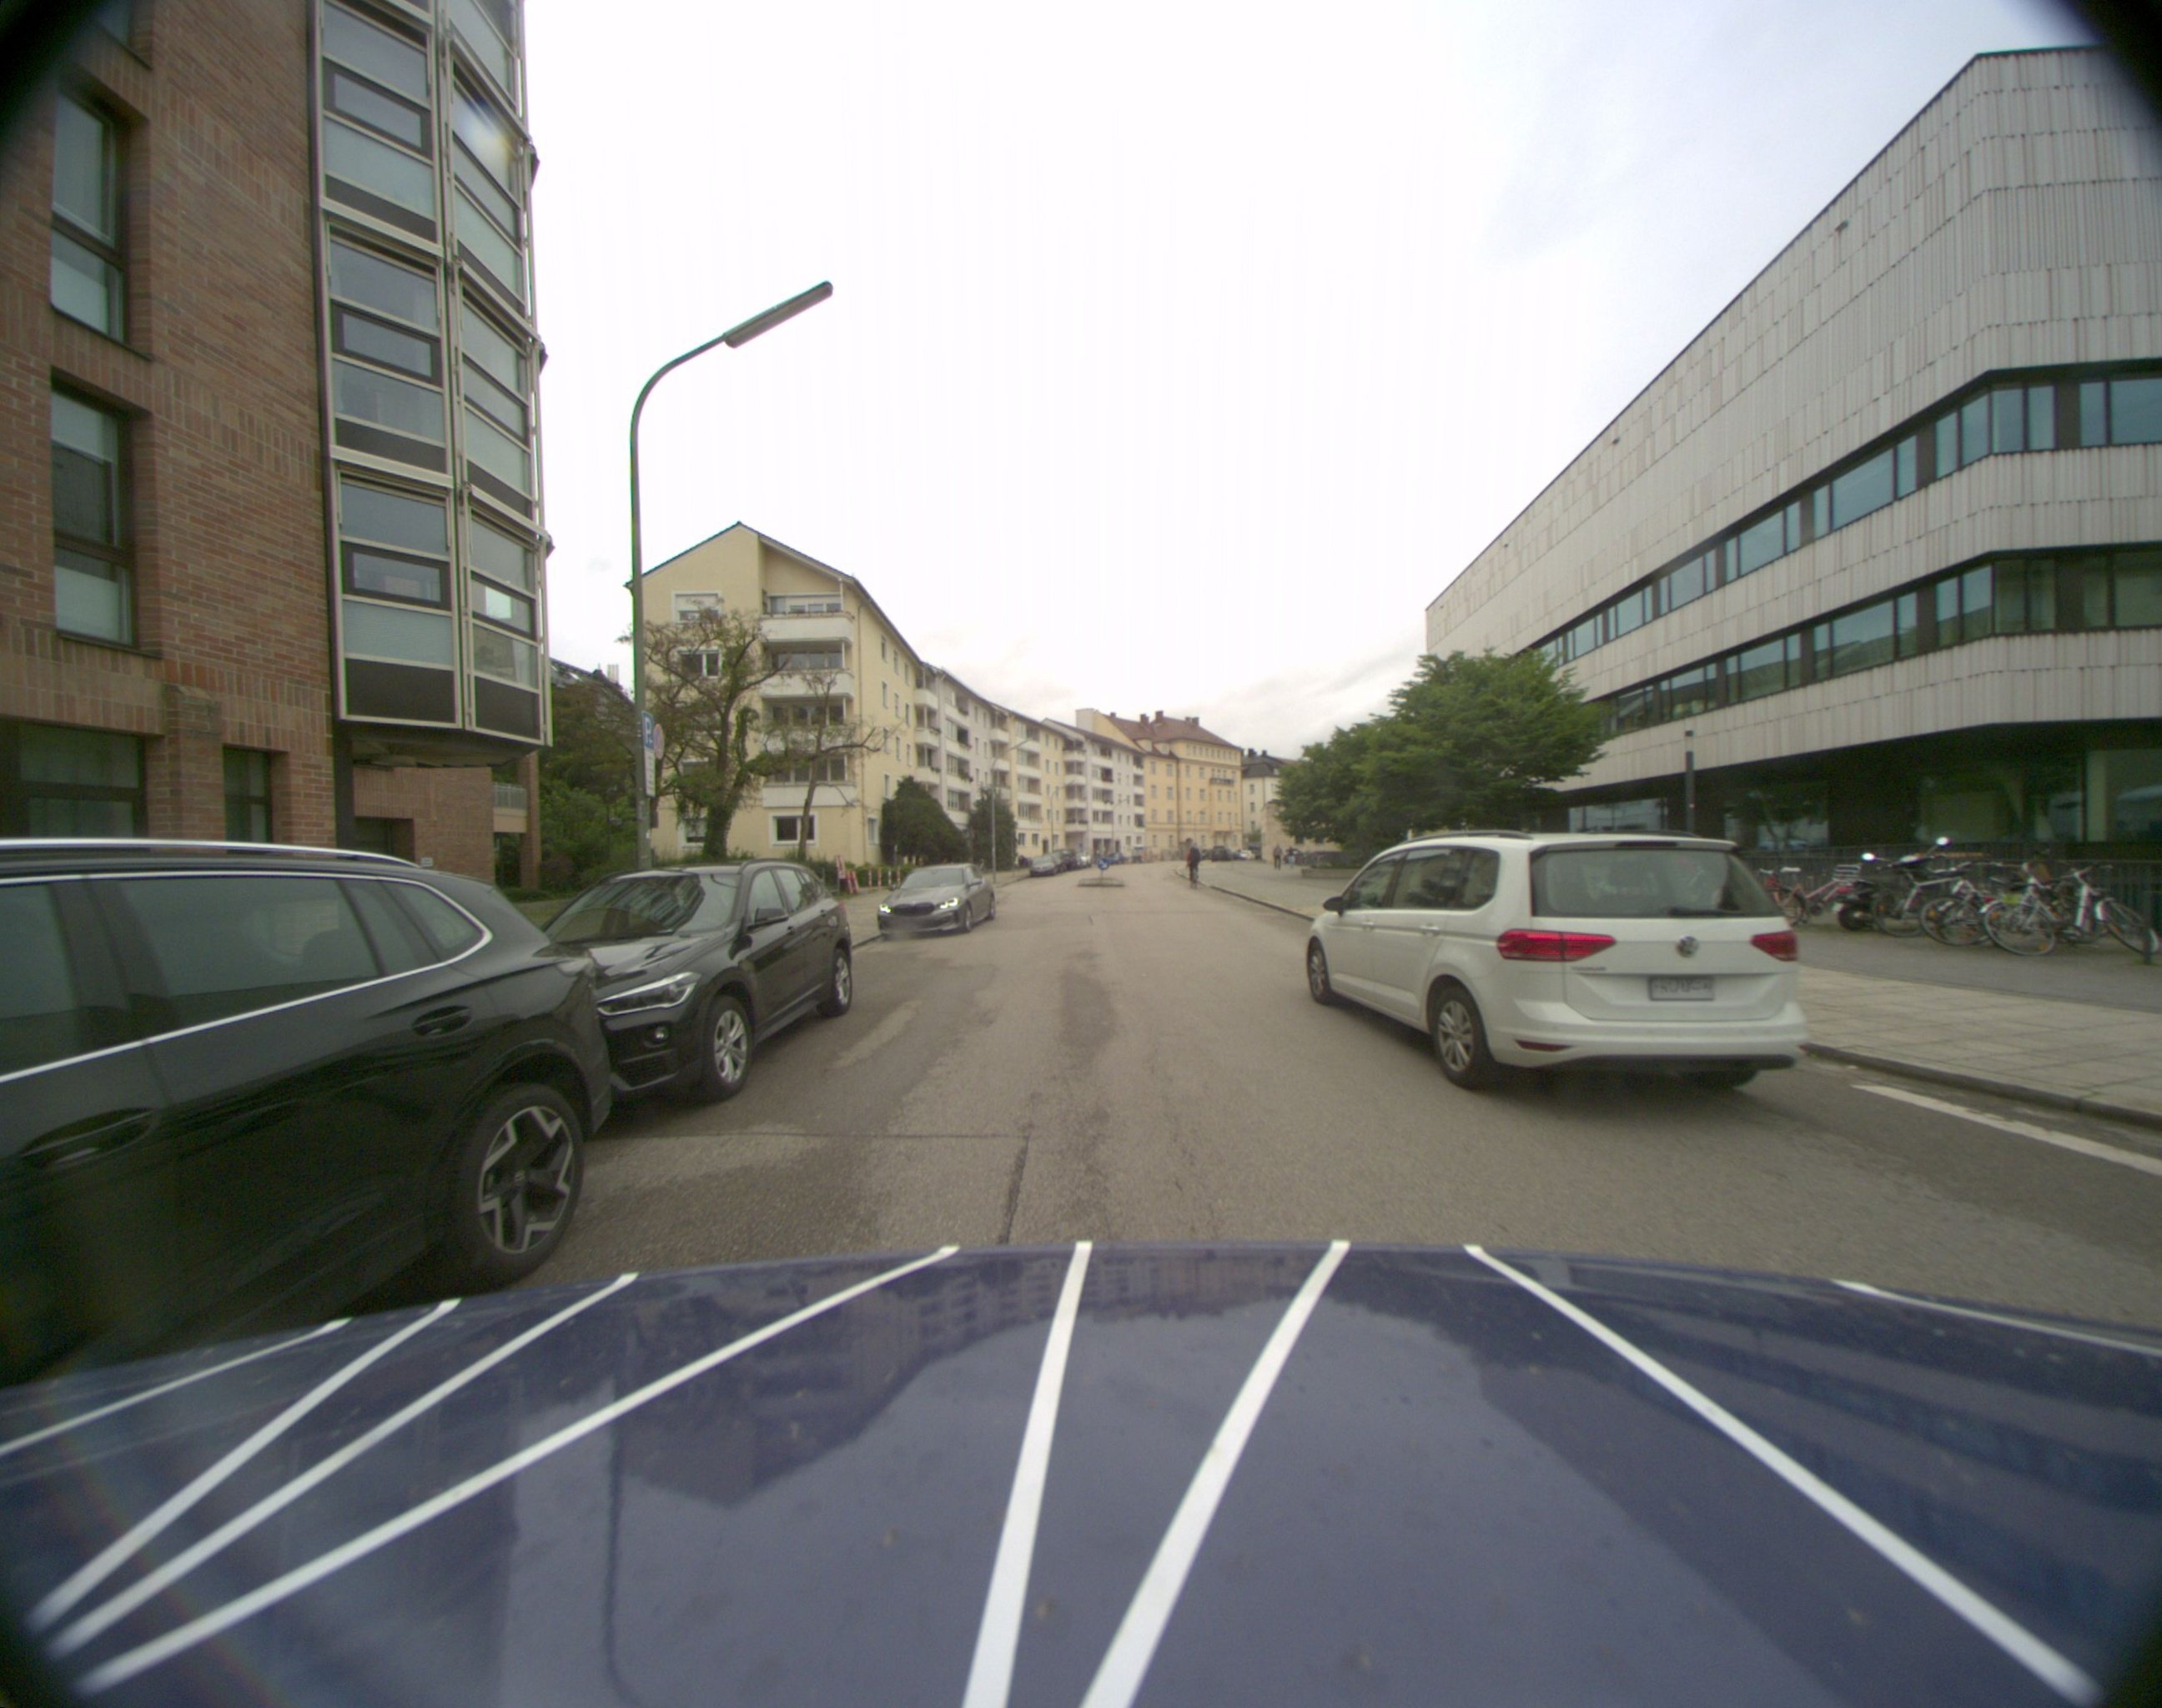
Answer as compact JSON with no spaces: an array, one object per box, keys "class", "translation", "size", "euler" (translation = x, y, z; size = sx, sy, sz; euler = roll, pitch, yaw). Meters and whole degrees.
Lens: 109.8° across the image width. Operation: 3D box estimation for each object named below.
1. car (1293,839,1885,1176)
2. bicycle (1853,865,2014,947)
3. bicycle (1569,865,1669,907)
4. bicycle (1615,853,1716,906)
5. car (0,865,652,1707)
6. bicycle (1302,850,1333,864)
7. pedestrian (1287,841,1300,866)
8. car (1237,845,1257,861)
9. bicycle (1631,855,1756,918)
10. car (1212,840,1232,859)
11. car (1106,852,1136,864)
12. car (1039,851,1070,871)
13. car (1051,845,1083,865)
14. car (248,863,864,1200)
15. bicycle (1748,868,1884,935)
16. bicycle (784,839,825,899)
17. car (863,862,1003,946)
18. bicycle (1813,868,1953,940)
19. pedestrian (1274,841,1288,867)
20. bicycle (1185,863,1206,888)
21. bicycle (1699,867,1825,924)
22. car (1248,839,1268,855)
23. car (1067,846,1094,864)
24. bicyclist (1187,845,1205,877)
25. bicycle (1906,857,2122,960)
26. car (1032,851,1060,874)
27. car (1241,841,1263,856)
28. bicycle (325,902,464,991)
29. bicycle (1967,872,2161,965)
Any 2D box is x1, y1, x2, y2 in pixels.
[{"class":"car","translation":[3.146,0.753,5.897],"size":[1.797,1.664,4.149],"euler":[-1,1,0]},{"class":"bicycle","translation":[12.171,0.734,10.869],"size":[1.656,1.097,0.501],"euler":[-2,1,4]},{"class":"bicycle","translation":[12.886,0.759,18.231],"size":[1.850,0.921,0.739],"euler":[-2,1,2]},{"class":"bicycle","translation":[13.163,0.571,17.136],"size":[1.814,1.145,0.519],"euler":[-2,1,5]},{"class":"car","translation":[-2.949,0.904,1.400],"size":[1.883,1.636,4.642],"euler":[-1,0,-4]},{"class":"bicycle","translation":[17.941,0.222,57.660],"size":[2.146,0.985,0.798],"euler":[-1,1,-9]},{"class":"pedestrian","translation":[15.047,-0.049,53.784],"size":[0.787,1.776,0.516],"euler":[-2,1,0]},{"class":"car","translation":[21.589,-0.177,98.729],"size":[1.890,2.002,4.005],"euler":[-1,1,20]},{"class":"bicycle","translation":[12.380,0.636,15.395],"size":[1.914,1.187,0.745],"euler":[-2,1,2]},{"class":"car","translation":[16.420,-0.542,88.175],"size":[1.891,2.002,4.004],"euler":[-1,1,15]},{"class":"car","translation":[4.710,0.458,88.534],"size":[1.680,1.281,4.007],"euler":[-1,1,32]},{"class":"car","translation":[-2.023,0.505,59.188],"size":[1.823,1.467,4.002],"euler":[-1,0,6]},{"class":"car","translation":[-1.130,0.032,63.827],"size":[1.997,1.587,4.002],"euler":[-1,0,9]},{"class":"car","translation":[-3.290,0.927,6.113],"size":[1.882,1.582,4.506],"euler":[-1,0,-2]},{"class":"bicycle","translation":[11.820,0.758,12.254],"size":[1.585,1.010,0.443],"euler":[-2,1,11]},{"class":"bicycle","translation":[-9.633,0.505,26.555],"size":[0.653,2.002,1.993],"euler":[-1,1,0]},{"class":"car","translation":[-3.070,0.987,16.758],"size":[1.881,1.428,4.334],"euler":[-4,0,4]},{"class":"bicycle","translation":[12.169,0.755,11.550],"size":[1.586,1.005,0.442],"euler":[-2,1,2]},{"class":"pedestrian","translation":[13.671,0.008,51.963],"size":[0.787,1.776,0.516],"euler":[-2,1,0]},{"class":"bicycle","translation":[4.987,0.937,33.273],"size":[0.707,1.042,1.463],"euler":[0,0,0]},{"class":"bicycle","translation":[12.308,0.750,13.757],"size":[1.818,0.957,0.473],"euler":[-2,1,2]},{"class":"car","translation":[25.776,-1.030,110.354],"size":[1.889,2.343,4.007],"euler":[-1,1,27]},{"class":"car","translation":[-0.038,0.110,71.882],"size":[1.997,1.630,4.002],"euler":[-1,0,8]},{"class":"bicyclist","translation":[4.972,0.282,32.969],"size":[0.618,1.342,0.832],"euler":[-2,1,0]},{"class":"bicycle","translation":[11.673,0.675,9.541],"size":[1.945,1.209,0.497],"euler":[-2,1,5]},{"class":"car","translation":[-2.471,0.596,54.101],"size":[1.755,1.483,3.999],"euler":[-2,1,0]},{"class":"car","translation":[23.677,-0.820,105.092],"size":[1.889,2.002,4.007],"euler":[-1,1,27]},{"class":"bicycle","translation":[-9.607,1.255,10.706],"size":[0.536,1.050,1.518],"euler":[-1,1,0]},{"class":"bicycle","translation":[11.753,0.757,8.987],"size":[1.815,1.017,0.519],"euler":[-2,1,5]}]
